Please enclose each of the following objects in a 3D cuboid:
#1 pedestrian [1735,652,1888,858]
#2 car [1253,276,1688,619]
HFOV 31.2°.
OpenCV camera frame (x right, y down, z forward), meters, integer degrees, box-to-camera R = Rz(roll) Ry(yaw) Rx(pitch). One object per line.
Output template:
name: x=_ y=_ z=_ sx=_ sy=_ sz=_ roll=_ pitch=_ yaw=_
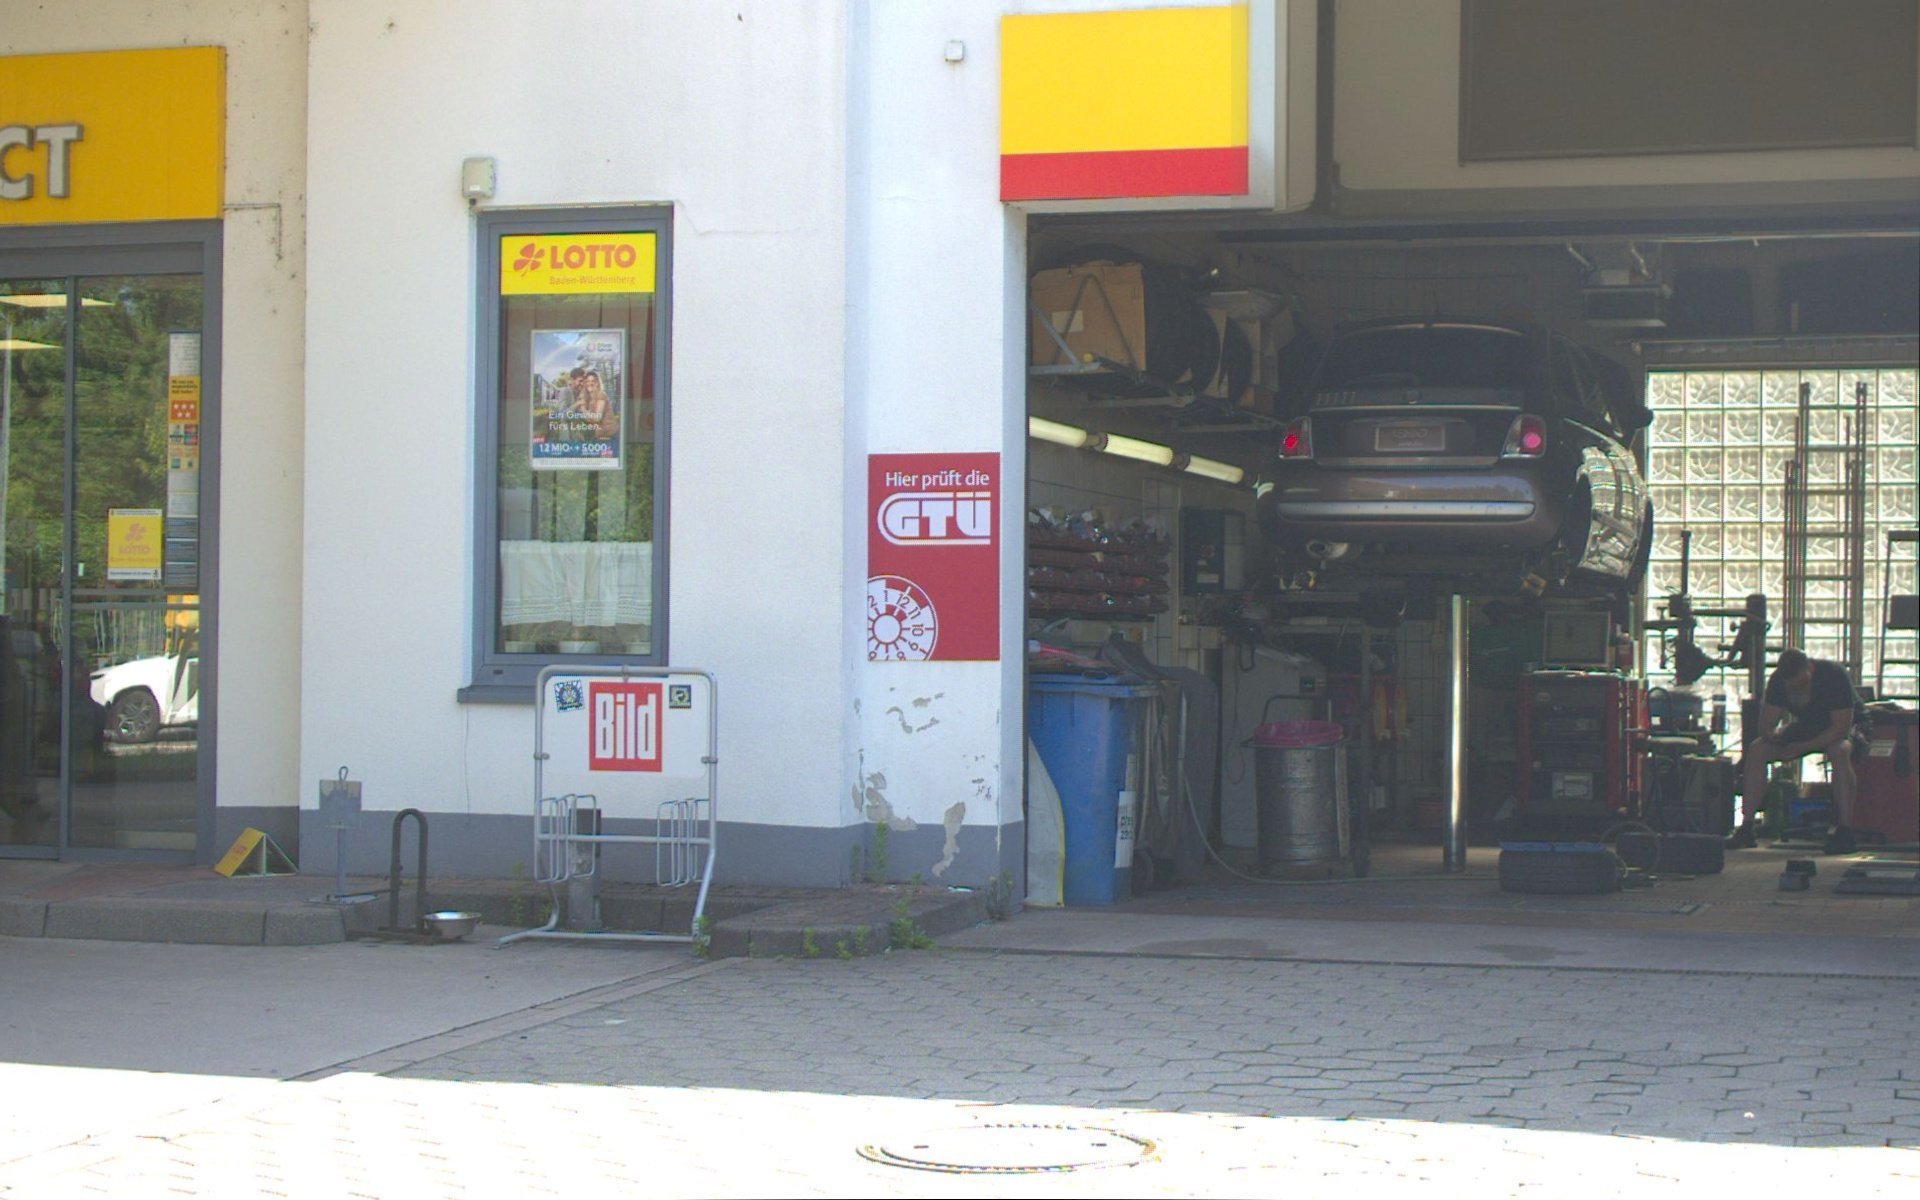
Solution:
pedestrian: x=5.074 y=0.918 z=20.462 sx=0.864 sy=1.194 sz=0.742 roll=0 pitch=-3 yaw=16
car: x=2.869 y=-0.721 z=18.605 sx=1.648 sy=1.481 sz=3.996 roll=0 pitch=-3 yaw=19
